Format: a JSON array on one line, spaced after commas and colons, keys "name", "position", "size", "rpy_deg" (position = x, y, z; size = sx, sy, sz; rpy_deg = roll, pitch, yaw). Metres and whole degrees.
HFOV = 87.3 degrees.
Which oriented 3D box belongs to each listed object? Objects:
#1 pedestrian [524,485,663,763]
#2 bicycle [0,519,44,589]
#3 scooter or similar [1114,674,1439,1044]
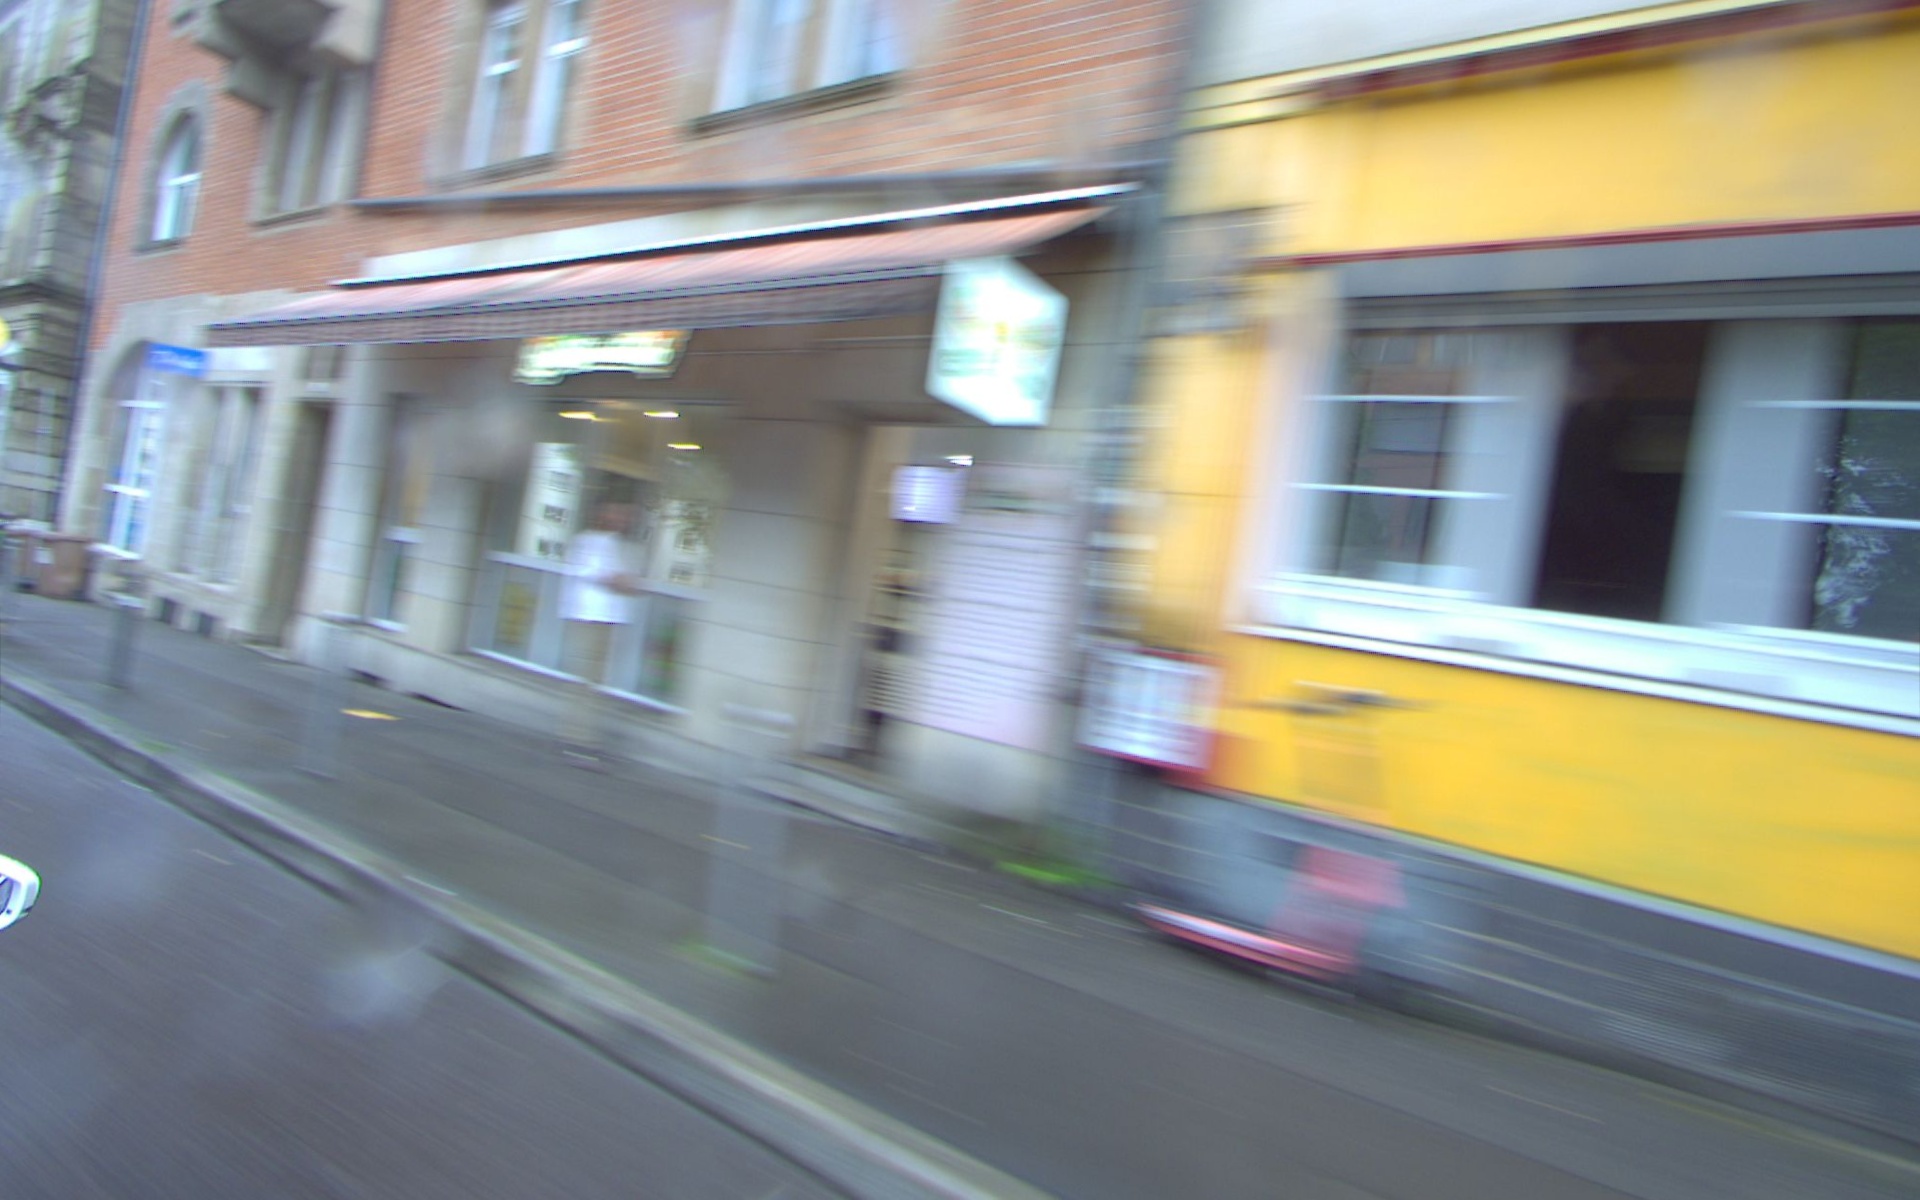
[{"name": "pedestrian", "position": [-2.585, 0.163, 7.109], "size": [0.554, 1.854, 0.577], "rpy_deg": [6, 1, 33]}, {"name": "bicycle", "position": [-16.178, -0.815, 16.476], "size": [0.456, 1.128, 1.691], "rpy_deg": [7, -1, 12]}, {"name": "scooter or similar", "position": [1.285, 1.006, 4.241], "size": [1.179, 1.235, 0.257], "rpy_deg": [6, -2, 45]}]
